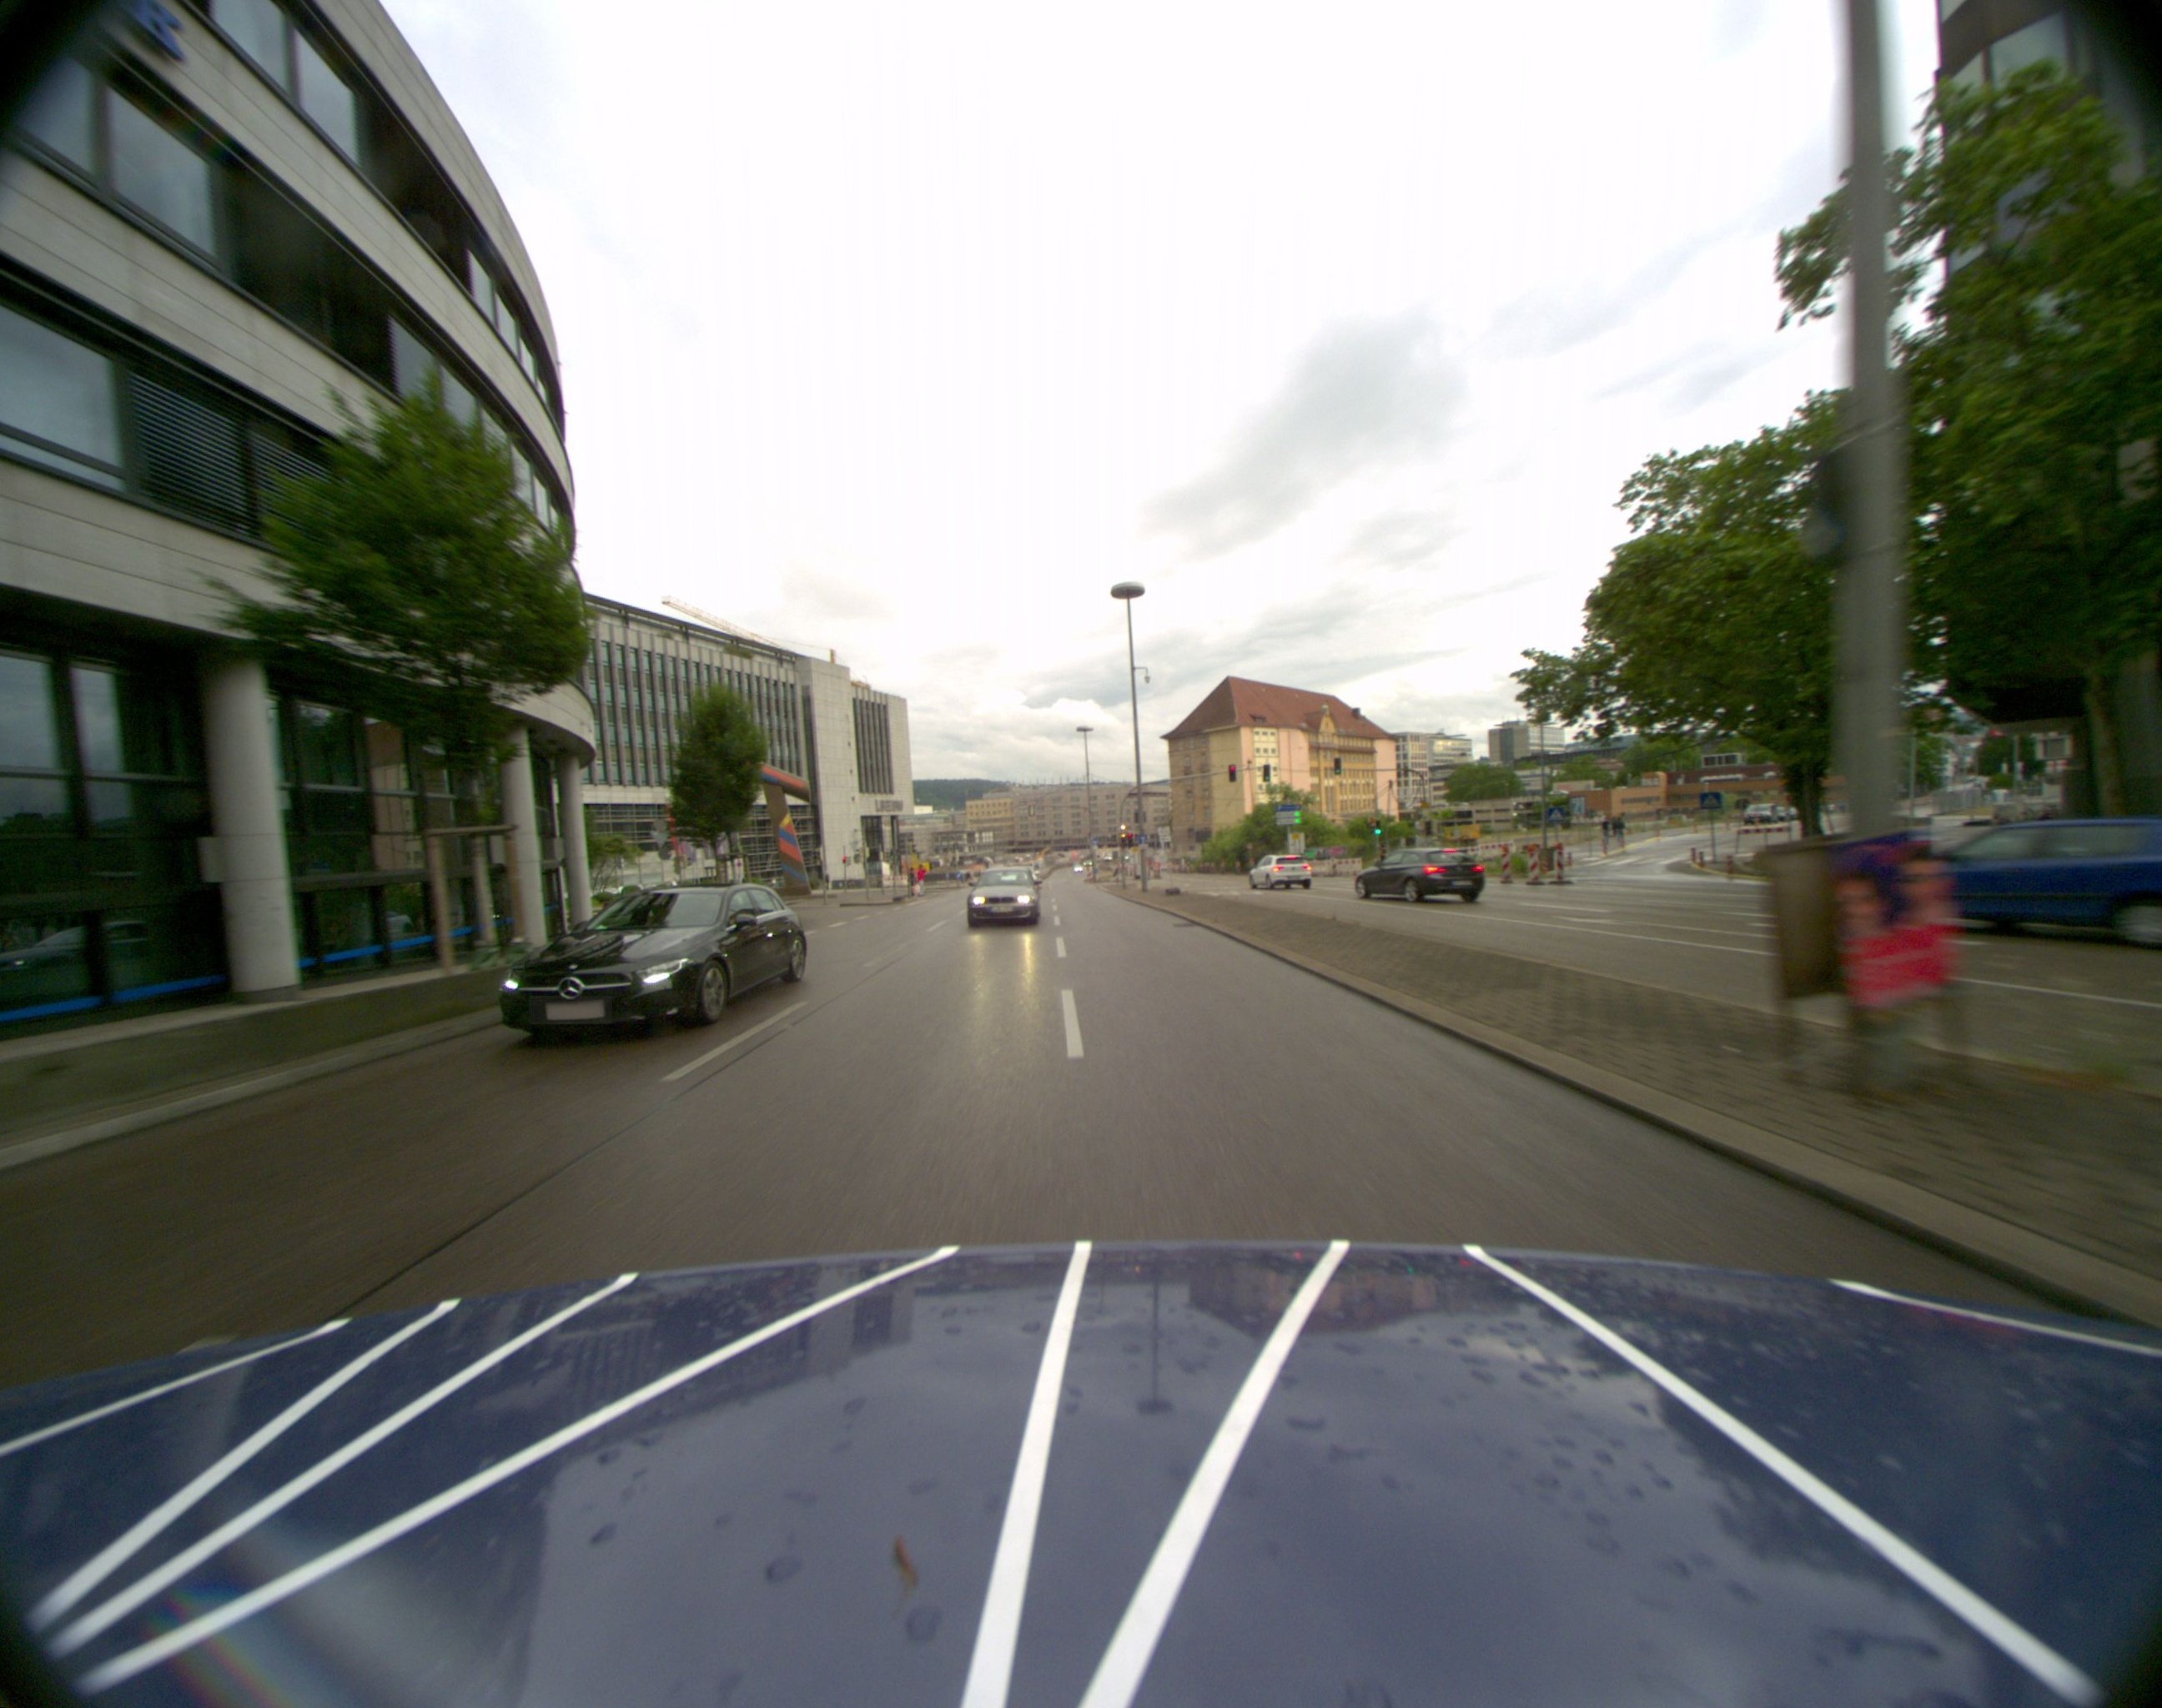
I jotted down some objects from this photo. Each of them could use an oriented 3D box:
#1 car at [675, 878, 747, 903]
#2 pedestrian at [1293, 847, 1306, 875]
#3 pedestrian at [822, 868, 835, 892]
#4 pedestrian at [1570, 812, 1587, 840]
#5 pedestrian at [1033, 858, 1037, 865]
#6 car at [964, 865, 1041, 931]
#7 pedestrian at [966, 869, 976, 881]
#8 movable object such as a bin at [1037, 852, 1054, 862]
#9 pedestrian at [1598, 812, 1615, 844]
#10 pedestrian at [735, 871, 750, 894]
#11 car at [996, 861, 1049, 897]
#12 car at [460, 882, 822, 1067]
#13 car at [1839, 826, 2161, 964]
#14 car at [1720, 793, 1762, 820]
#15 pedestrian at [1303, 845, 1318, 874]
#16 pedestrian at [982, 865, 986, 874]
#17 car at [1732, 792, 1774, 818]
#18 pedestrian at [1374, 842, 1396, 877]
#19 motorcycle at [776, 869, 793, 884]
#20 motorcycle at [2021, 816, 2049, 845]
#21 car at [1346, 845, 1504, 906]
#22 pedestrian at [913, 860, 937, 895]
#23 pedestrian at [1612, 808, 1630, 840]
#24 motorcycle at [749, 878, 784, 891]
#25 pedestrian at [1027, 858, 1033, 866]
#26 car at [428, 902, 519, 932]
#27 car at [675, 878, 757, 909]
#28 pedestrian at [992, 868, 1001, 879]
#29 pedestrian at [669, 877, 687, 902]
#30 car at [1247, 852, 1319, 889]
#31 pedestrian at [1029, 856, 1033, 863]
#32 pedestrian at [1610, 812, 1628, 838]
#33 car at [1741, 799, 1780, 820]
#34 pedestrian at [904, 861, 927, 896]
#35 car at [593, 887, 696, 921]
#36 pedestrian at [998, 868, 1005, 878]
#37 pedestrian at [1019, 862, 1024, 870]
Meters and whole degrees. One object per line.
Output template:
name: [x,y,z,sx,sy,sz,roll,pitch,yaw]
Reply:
car: [-27.341,2.703,56.310,4.620,1.443,1.703,-4,1,-25]
pedestrian: [15.228,0.455,52.964,0.674,1.891,0.775,-3,2,1]
pedestrian: [-23.181,2.375,69.826,0.856,2.086,0.903,-5,0,-25]
pedestrian: [35.627,-2.008,54.407,0.710,2.002,0.745,-5,3,-38]
pedestrian: [-11.043,1.829,181.901,0.647,1.544,0.767,-2,3,35]
car: [-1.982,1.064,19.857,1.745,1.434,3.999,-2,0,-4]
pedestrian: [-15.102,2.867,104.524,0.730,1.642,1.062,-3,1,26]
movable object such as a bin: [-9.886,0.931,211.559,4.135,2.521,1.995,-5,3,-36]
pedestrian: [36.680,-1.809,53.060,0.703,2.159,0.745,-5,3,-38]
pedestrian: [-27.193,2.292,61.017,0.731,1.701,0.843,-3,2,-2]
car: [-2.806,1.191,37.198,1.968,1.539,4.220,-3,0,3]
car: [-4.537,1.122,8.713,1.759,1.399,4.226,0,1,-2]
car: [12.360,0.421,9.509,1.612,1.465,4.067,-2,0,-1]
car: [52.248,-3.778,60.129,4.006,1.955,1.809,-5,3,-39]
pedestrian: [15.971,0.377,52.911,0.763,1.912,0.742,-3,2,1]
pedestrian: [-20.499,3.261,159.875,0.567,1.738,0.495,-3,2,17]
car: [56.630,-4.160,64.006,4.006,2.002,1.995,-5,3,-39]
pedestrian: [16.605,0.276,41.543,0.743,1.870,0.746,-4,2,-11]
motorcycle: [-25.714,1.914,65.904,1.245,1.263,0.619,-2,0,-9]
motorcycle: [35.966,-0.896,28.637,2.187,1.031,0.564,-3,0,-36]
car: [9.193,0.558,20.759,1.813,1.440,4.337,-2,-1,-9]
pedestrian: [-8.920,1.331,43.489,0.841,1.894,0.862,-2,2,24]
pedestrian: [37.255,-2.076,52.372,0.744,2.128,0.745,-5,2,-38]
motorcycle: [-26.424,2.527,63.858,2.572,1.074,0.634,0,0,-9]
pedestrian: [-11.846,1.912,176.858,0.818,1.839,0.933,-2,3,35]
car: [-41.442,4.283,51.960,4.587,1.624,1.773,-3,0,-30]
car: [-22.498,2.435,46.955,3.998,1.434,1.865,-4,3,-2]
pedestrian: [-13.838,3.209,124.551,0.861,1.584,0.953,-2,2,26]
pedestrian: [-30.644,2.692,57.816,0.968,1.808,0.782,-1,3,39]
car: [8.685,0.711,33.021,1.766,1.452,4.359,-2,-1,-2]
pedestrian: [-11.662,1.288,177.046,0.746,1.696,0.687,-1,3,13]
pedestrian: [39.674,-2.138,56.026,0.786,1.842,0.766,-4,0,-38]
car: [63.094,-4.163,70.516,4.006,1.696,1.995,-5,2,-39]
pedestrian: [-9.208,1.372,42.299,0.841,1.894,0.733,-2,2,24]
car: [-24.099,2.748,42.027,4.707,1.434,1.868,-3,2,10]
pedestrian: [-12.983,3.144,124.453,0.732,1.566,0.806,-3,2,26]
pedestrian: [-13.342,2.689,169.565,0.715,1.544,1.009,-3,2,18]
